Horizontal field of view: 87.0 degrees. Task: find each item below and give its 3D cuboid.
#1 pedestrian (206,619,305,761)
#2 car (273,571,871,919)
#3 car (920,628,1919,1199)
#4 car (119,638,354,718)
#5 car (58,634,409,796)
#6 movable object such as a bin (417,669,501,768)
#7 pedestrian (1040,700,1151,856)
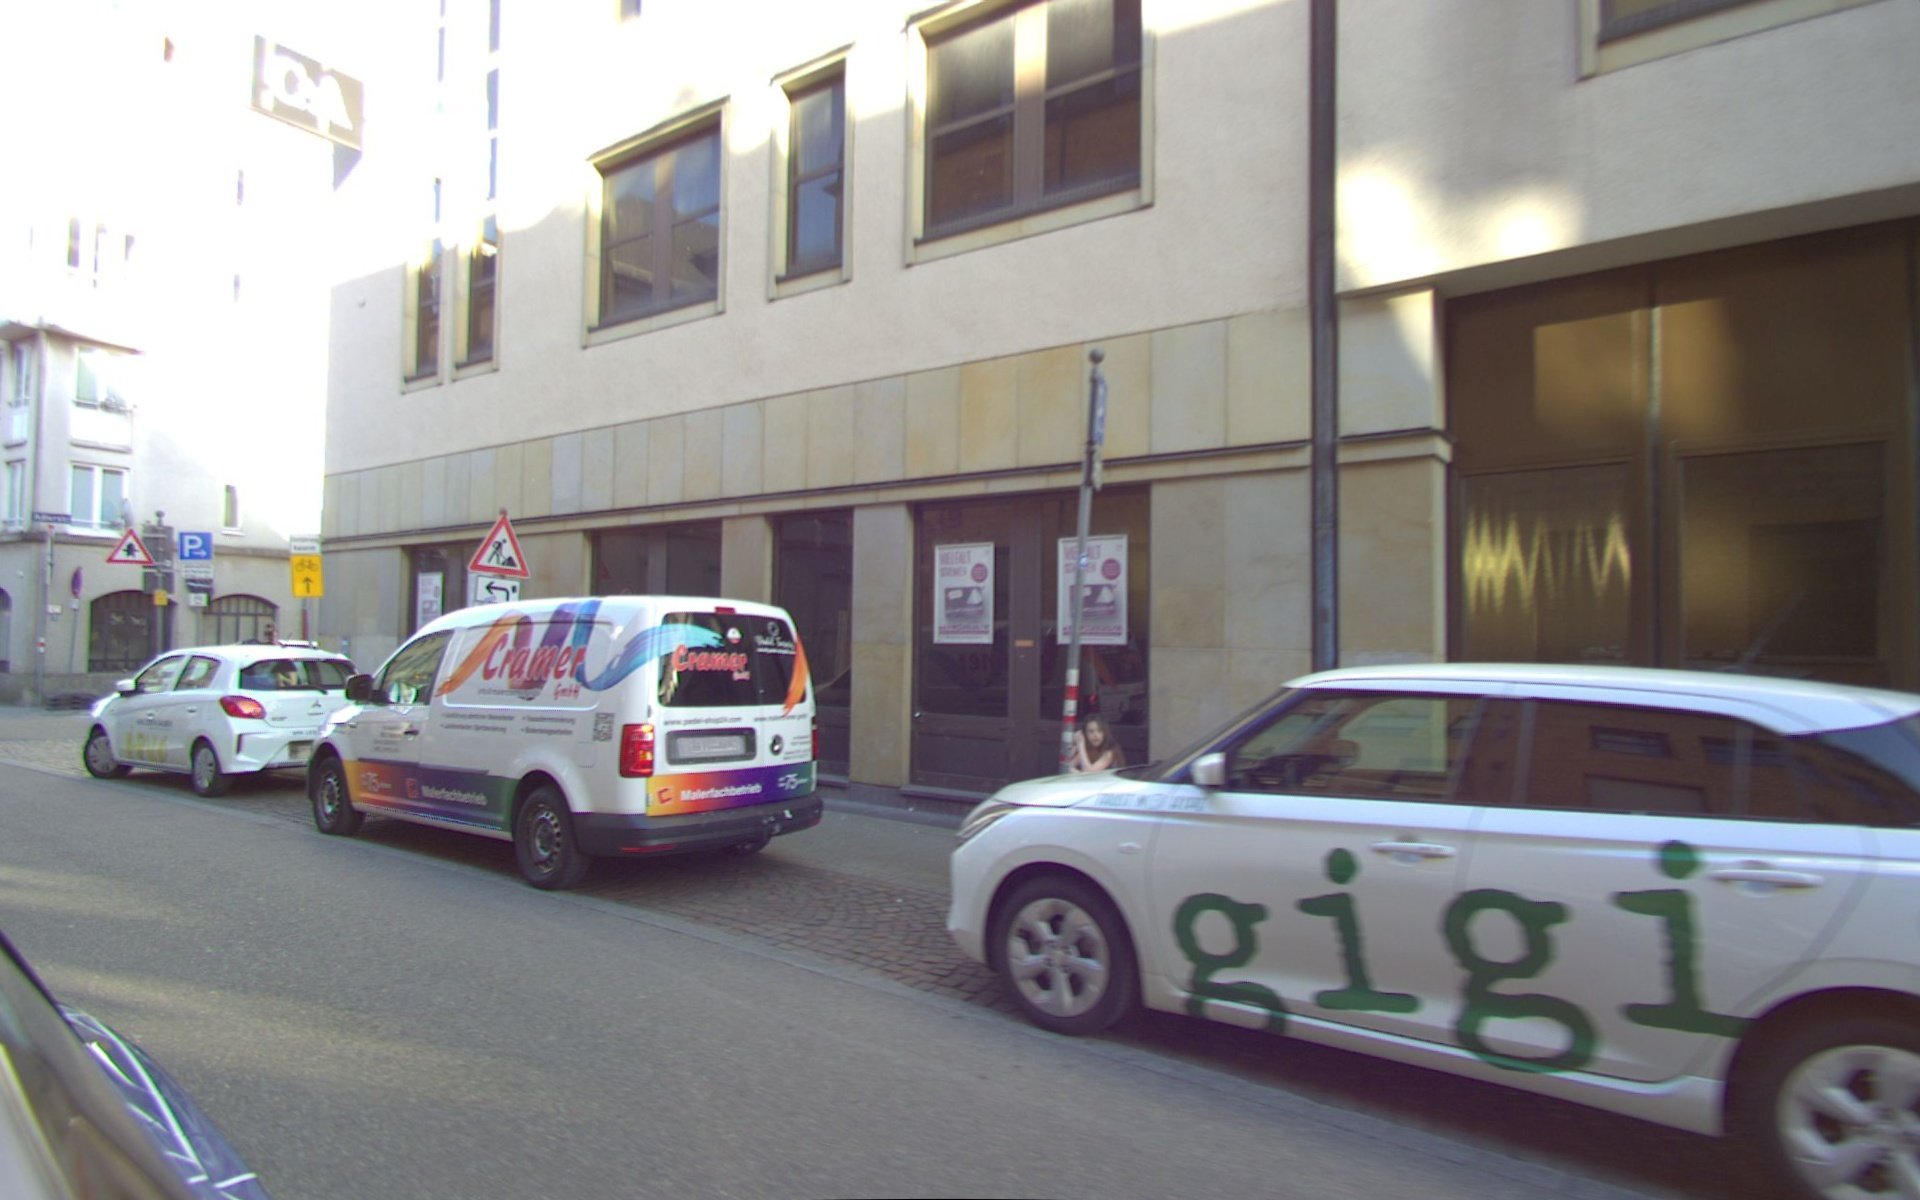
[{"bbox_3d":[-9.722,1.221,13.977,0.858,1.869,0.709,0,-4,29],"label":"pedestrian"},{"bbox_3d":[-3.094,0.886,7.633,4.724,1.872,1.882,-1,-5,36],"label":"car"},{"bbox_3d":[1.856,0.924,3.835,3.767,1.534,1.655,-1,-5,36],"label":"car"},{"bbox_3d":[-16.164,1.705,22.799,1.739,1.605,3.923,0,-3,34],"label":"car"},{"bbox_3d":[-8.043,1.160,11.155,3.785,1.504,1.724,-1,-5,31],"label":"car"},{"bbox_3d":[-6.156,1.438,12.451,0.589,1.109,0.731,0,-1,32],"label":"movable object such as a bin"},{"bbox_3d":[1.020,1.296,7.569,0.615,1.043,0.650,-1,-3,32],"label":"pedestrian"}]
